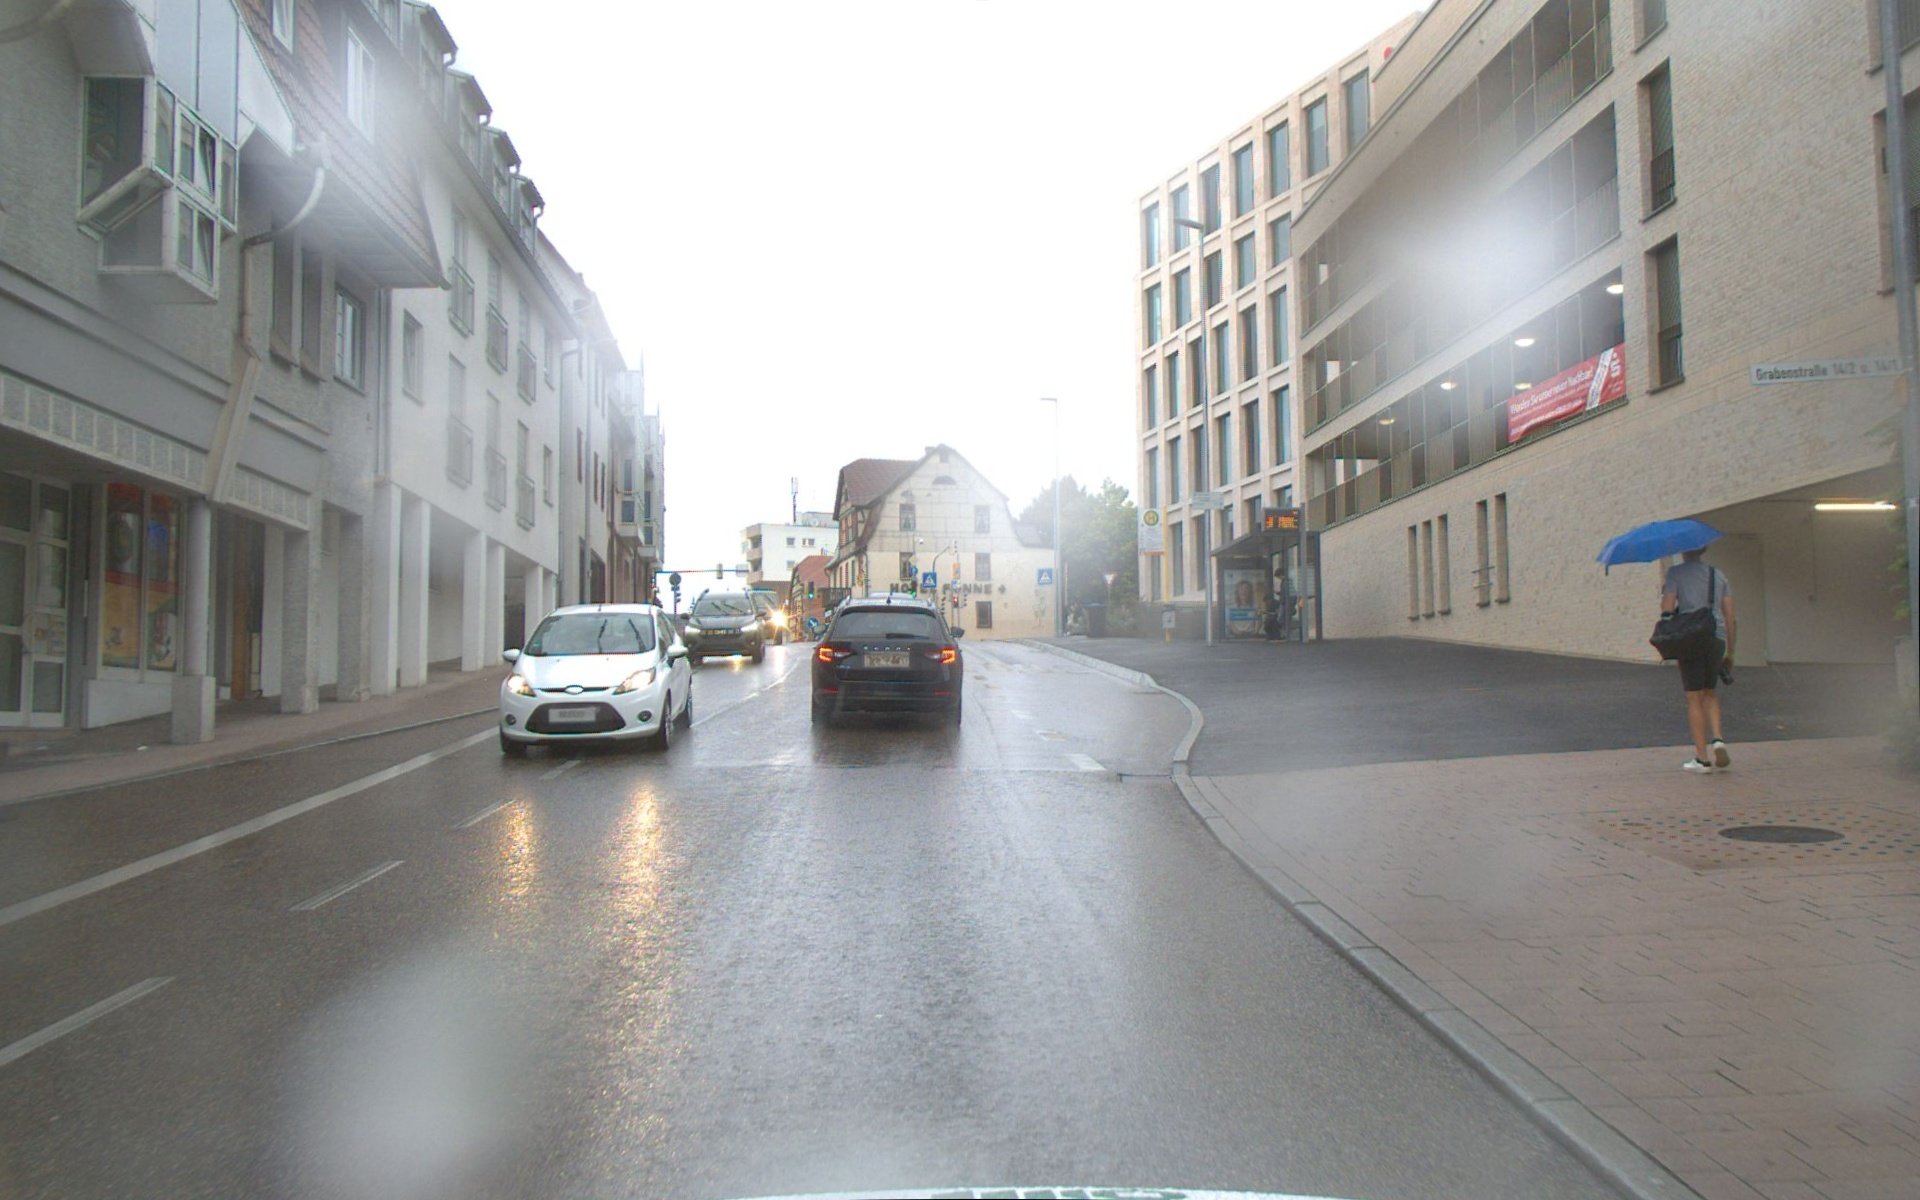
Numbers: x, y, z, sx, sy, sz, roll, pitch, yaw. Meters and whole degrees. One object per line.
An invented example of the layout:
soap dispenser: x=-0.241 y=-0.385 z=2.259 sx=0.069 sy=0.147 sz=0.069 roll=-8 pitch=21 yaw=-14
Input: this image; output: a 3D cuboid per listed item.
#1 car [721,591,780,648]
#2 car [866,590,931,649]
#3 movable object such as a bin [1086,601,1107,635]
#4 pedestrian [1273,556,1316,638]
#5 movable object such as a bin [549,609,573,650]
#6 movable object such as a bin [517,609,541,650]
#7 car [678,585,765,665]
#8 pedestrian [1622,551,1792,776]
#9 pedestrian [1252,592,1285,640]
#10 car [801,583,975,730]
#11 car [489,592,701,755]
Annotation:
car: x=-7.658 y=0.677 z=60.706 sx=1.894 sy=1.941 sz=5.037 roll=-2 pitch=0 yaw=-5
car: x=-1.727 y=0.505 z=45.317 sx=1.644 sy=1.536 sz=3.586 roll=-1 pitch=0 yaw=-4
movable object such as a bin: x=4.401 y=0.574 z=53.256 sx=0.583 sy=1.081 sz=0.578 roll=-1 pitch=0 yaw=-2
pedestrian: x=8.282 y=-0.069 z=40.960 sx=0.766 sy=1.974 sz=1.021 roll=-2 pitch=0 yaw=-1
movable object such as a bin: x=-10.083 y=0.739 z=41.766 sx=0.498 sy=1.024 sz=0.584 roll=0 pitch=0 yaw=-5
movable object such as a bin: x=-10.793 y=0.732 z=41.450 sx=0.498 sy=1.024 sz=0.584 roll=0 pitch=0 yaw=-5
car: x=-5.458 y=0.539 z=38.327 sx=1.747 sy=1.723 sz=4.454 roll=-1 pitch=0 yaw=-5
pedestrian: x=5.572 y=0.455 z=12.392 sx=0.720 sy=1.569 sz=1.038 roll=-4 pitch=0 yaw=1
pedestrian: x=7.895 y=0.403 z=42.329 sx=0.658 sy=1.182 sz=0.635 roll=-2 pitch=0 yaw=-1
car: x=-0.945 y=0.623 z=20.402 sx=1.906 sy=1.594 sz=4.413 roll=-1 pitch=0 yaw=-4
car: x=-3.776 y=0.701 z=17.649 sx=1.644 sy=1.536 sz=3.586 roll=-1 pitch=0 yaw=-3
